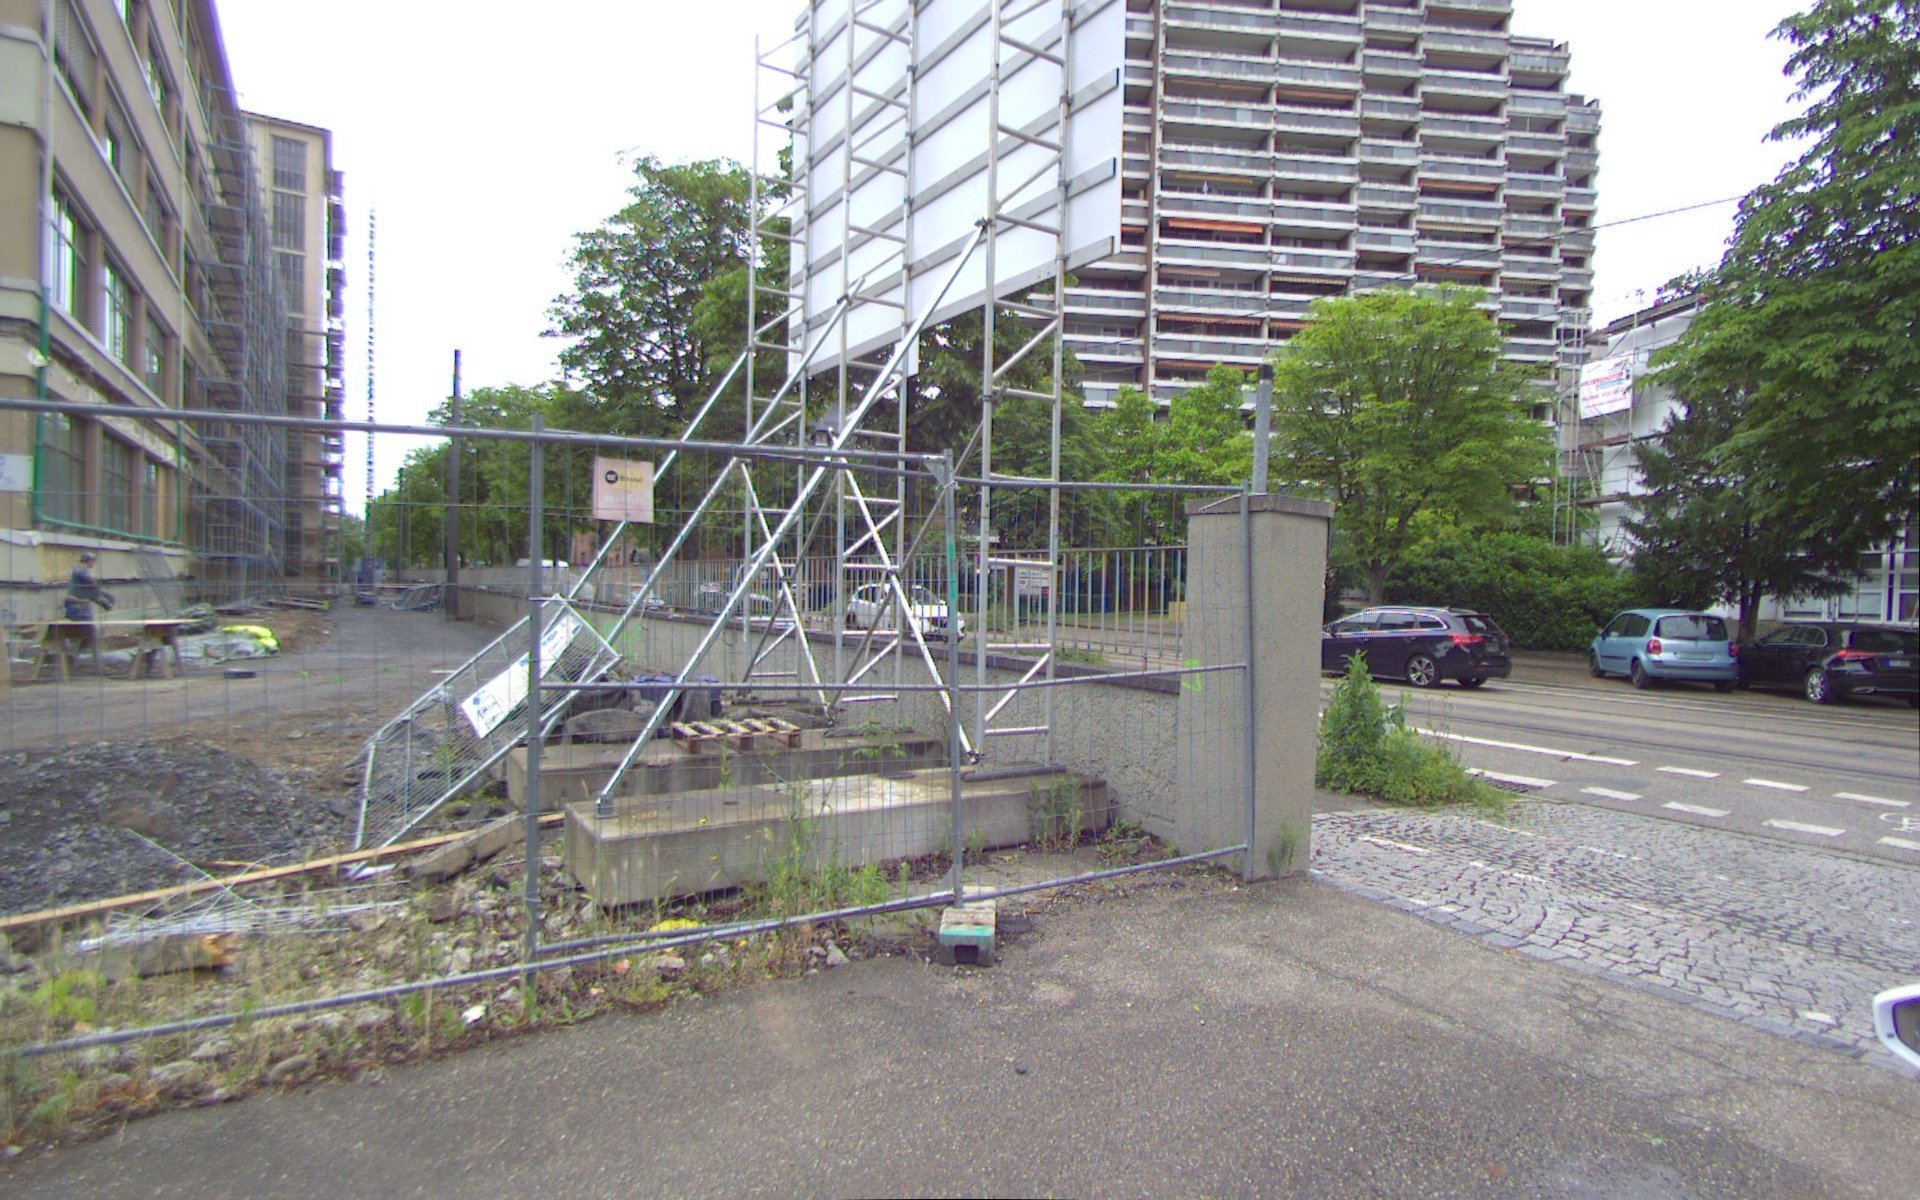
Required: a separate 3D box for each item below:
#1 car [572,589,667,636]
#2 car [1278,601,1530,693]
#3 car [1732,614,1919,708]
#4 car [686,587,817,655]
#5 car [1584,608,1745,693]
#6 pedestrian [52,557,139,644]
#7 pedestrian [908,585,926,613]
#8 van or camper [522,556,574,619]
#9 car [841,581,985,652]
[{"bbox_3d":[-10.684,0.365,31.339,1.978,1.328,3.965,1,1,-32],"label":"car"},{"bbox_3d":[8.550,0.834,19.698,1.805,1.510,4.215,1,0,-34],"label":"car"},{"bbox_3d":[16.038,1.048,18.522,1.586,1.531,3.339,2,0,14],"label":"car"},{"bbox_3d":[-5.061,0.453,24.024,1.813,1.437,3.965,1,0,-32],"label":"car"},{"bbox_3d":[14.595,0.981,21.015,1.586,1.557,3.339,2,0,14],"label":"car"},{"bbox_3d":[-15.037,0.003,17.481,0.916,1.457,0.979,2,0,38],"label":"pedestrian"},{"bbox_3d":[-2.404,-0.057,55.793,0.838,1.548,0.515,1,1,-44],"label":"pedestrian"},{"bbox_3d":[-19.225,-0.587,46.752,1.974,2.789,3.973,1,0,-26],"label":"van or camper"},{"bbox_3d":[-1.400,0.388,27.682,1.978,1.726,4.560,0,1,-32],"label":"car"}]
